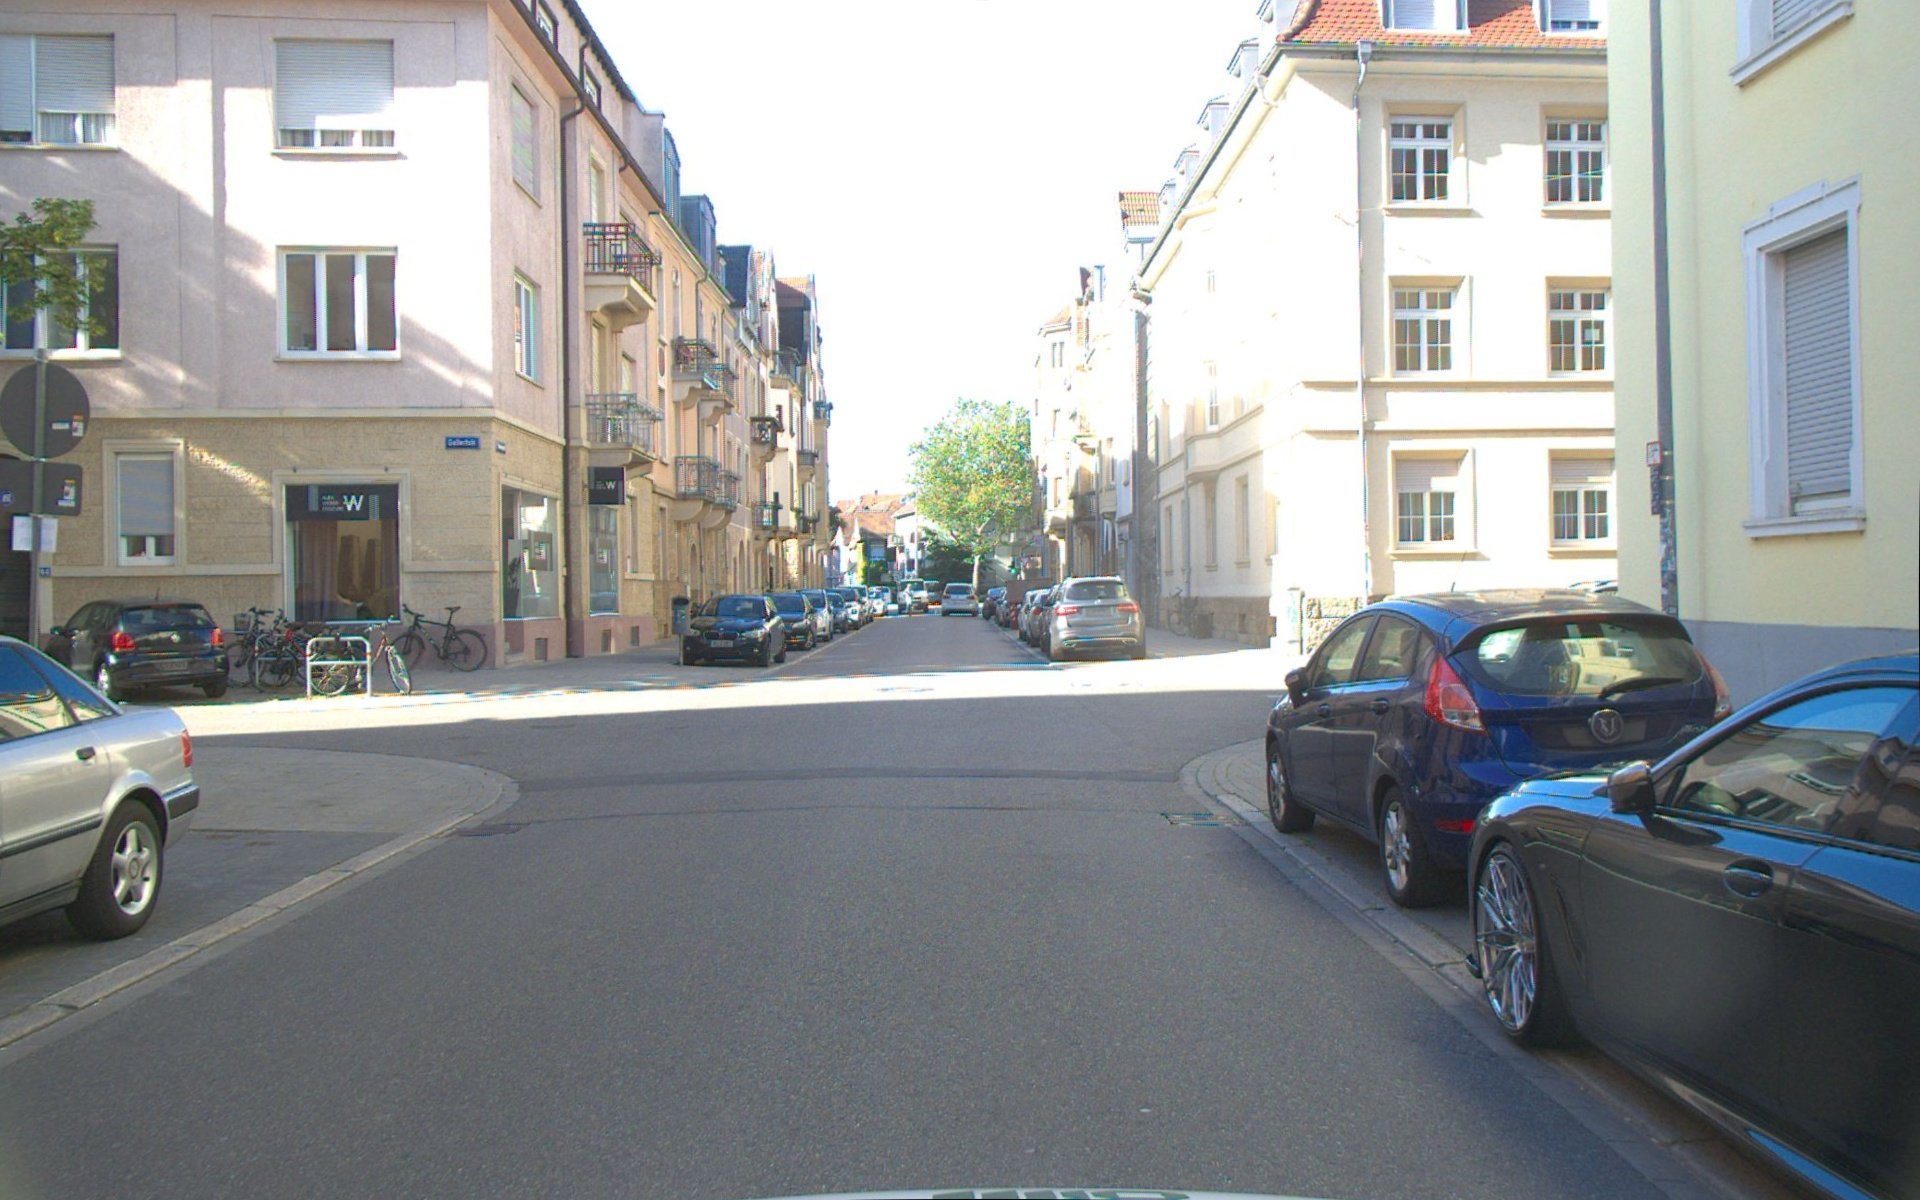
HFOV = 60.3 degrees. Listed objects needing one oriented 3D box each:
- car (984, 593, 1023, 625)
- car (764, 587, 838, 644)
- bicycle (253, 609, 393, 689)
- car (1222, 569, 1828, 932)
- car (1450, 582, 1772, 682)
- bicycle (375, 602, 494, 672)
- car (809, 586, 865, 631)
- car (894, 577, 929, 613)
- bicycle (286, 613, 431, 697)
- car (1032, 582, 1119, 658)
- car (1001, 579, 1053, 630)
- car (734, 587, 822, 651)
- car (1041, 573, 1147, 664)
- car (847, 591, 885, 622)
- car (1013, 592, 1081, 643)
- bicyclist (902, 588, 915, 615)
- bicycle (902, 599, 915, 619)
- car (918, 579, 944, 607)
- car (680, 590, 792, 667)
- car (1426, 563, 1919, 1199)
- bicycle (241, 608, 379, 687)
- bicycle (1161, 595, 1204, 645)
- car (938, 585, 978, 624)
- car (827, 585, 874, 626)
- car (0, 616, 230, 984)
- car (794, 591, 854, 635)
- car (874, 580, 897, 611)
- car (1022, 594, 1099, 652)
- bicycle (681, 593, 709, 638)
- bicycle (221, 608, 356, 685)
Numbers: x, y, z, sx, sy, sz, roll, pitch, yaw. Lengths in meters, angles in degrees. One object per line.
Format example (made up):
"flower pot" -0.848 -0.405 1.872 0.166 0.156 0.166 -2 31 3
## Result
"car" 2.135 0.462 81.851 1.801 1.456 4.028 -2 -2 0
"car" -4.972 0.493 52.096 1.963 1.647 4.485 2 -1 -2
"bicycle" -9.506 0.723 24.716 1.859 1.155 0.526 0 2 0
"car" 2.818 0.645 9.304 1.728 1.496 4.081 -3 0 -4
"car" 10.321 0.511 26.383 4.451 1.494 1.825 0 -2 -8
"bicycle" -9.027 0.632 28.478 1.862 1.155 0.647 0 2 -8
"car" -4.880 0.349 66.055 1.963 1.647 4.485 2 -1 -2
"car" -2.862 -0.276 97.853 1.963 2.035 4.485 2 -1 -2
"bicycle" -8.713 0.793 24.002 1.859 1.155 0.648 1 2 0
"car" 2.647 0.471 38.778 1.710 1.636 4.028 -2 -1 0
"car" 2.532 0.188 63.035 1.801 1.818 4.028 -1 -2 0
"car" -4.876 0.511 44.814 1.963 1.610 4.485 2 -1 -2
"car" 2.685 0.409 34.157 1.874 1.673 4.774 -2 -1 1
"car" -5.194 0.356 91.833 1.963 1.633 4.485 2 -1 -2
"car" 2.610 0.558 50.234 1.801 1.456 4.028 -2 -1 0
"bicyclist" -2.761 0.069 89.364 0.649 1.410 0.753 -2 -1 -2
"bicycle" -2.759 0.486 89.343 0.649 1.037 2.066 -2 -1 -2
"car" -2.242 -0.522 127.475 1.963 2.035 4.485 2 -1 -2
"car" -4.585 0.586 34.435 1.645 1.451 4.274 2 -1 1
"car" 2.728 0.670 3.841 1.764 1.496 5.111 -3 0 0
"bicycle" -9.901 0.720 25.228 1.860 1.155 0.526 0 2 -3
"bicycle" 5.845 0.505 43.580 0.746 1.268 2.591 0 0 -1
"car" -0.133 0.247 87.609 1.963 1.947 4.486 2 -1 -1
"car" -5.071 0.266 77.047 1.963 1.819 4.485 2 -1 -2
"car" -4.604 0.794 6.225 1.726 1.401 4.478 0 0 0
"car" -5.003 0.493 61.396 1.939 1.508 4.326 2 -1 -2
"car" -6.627 -0.362 147.224 1.801 2.578 4.175 -2 -2 0
"car" 2.681 0.640 44.841 1.801 1.456 4.028 -2 -1 0
"bicycle" -8.021 0.460 50.076 0.530 1.324 1.866 1 0 0
"bicycle" -10.463 0.717 25.812 1.860 1.155 0.526 0 2 -3
